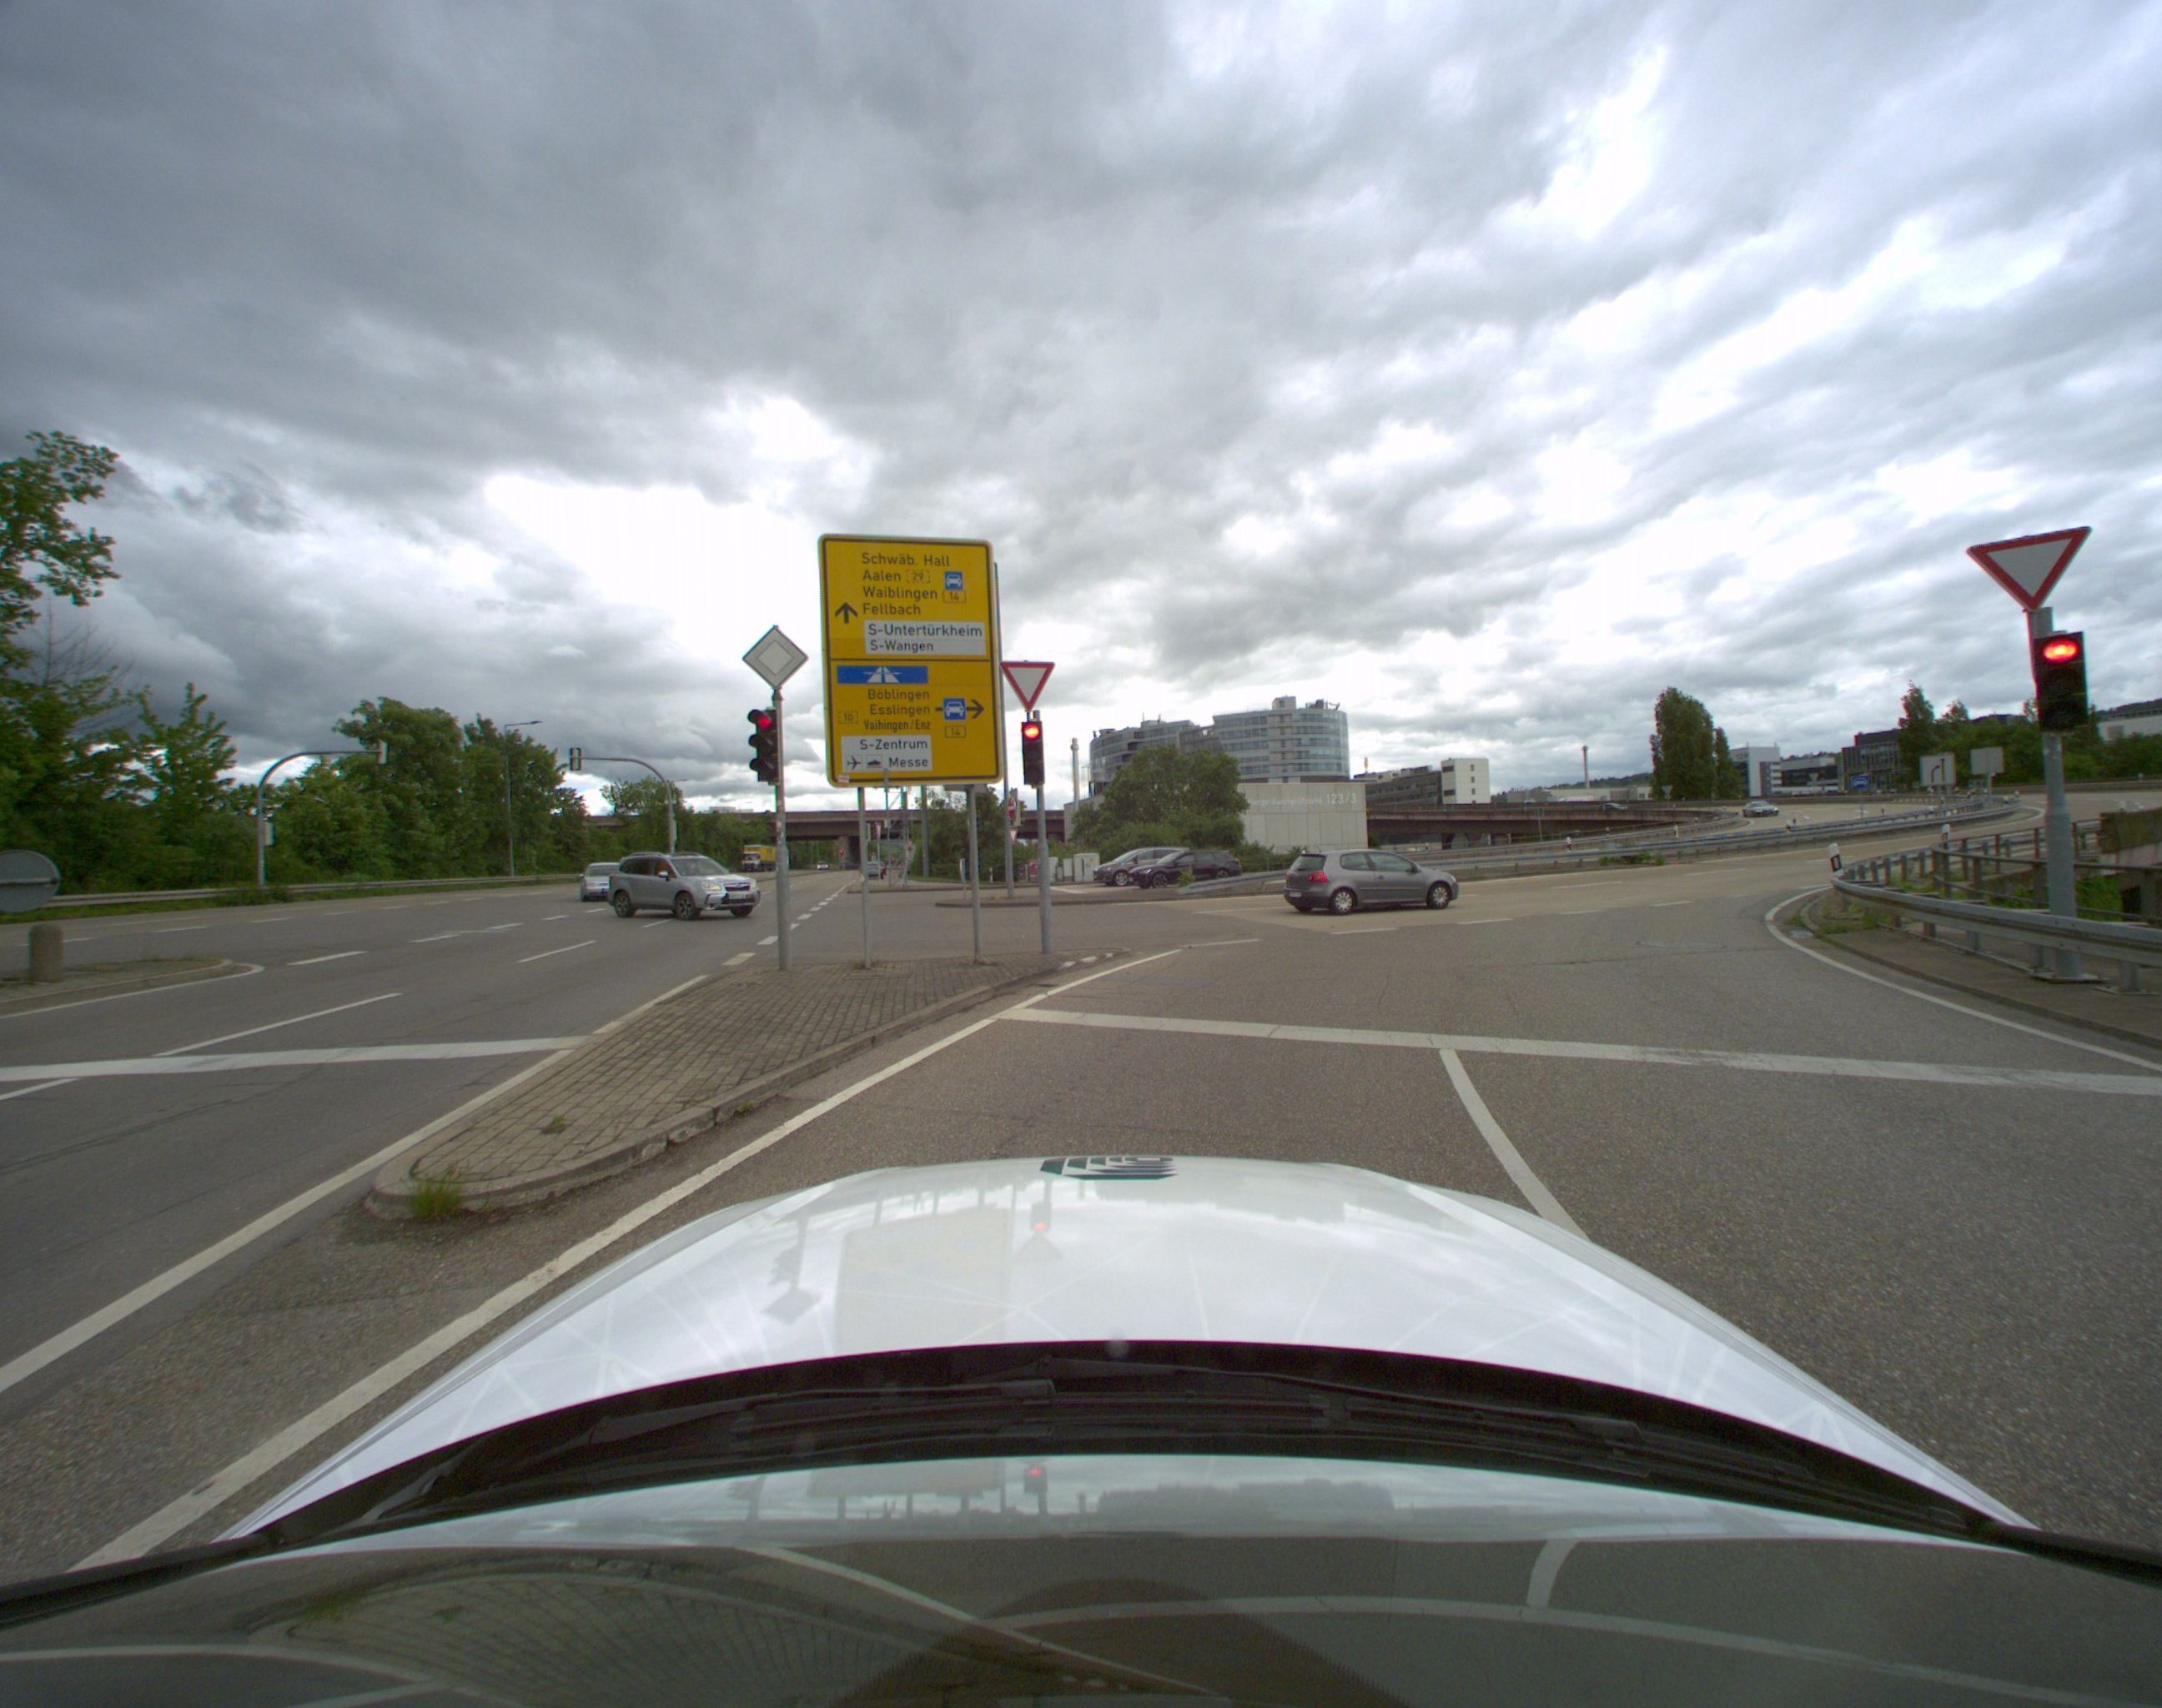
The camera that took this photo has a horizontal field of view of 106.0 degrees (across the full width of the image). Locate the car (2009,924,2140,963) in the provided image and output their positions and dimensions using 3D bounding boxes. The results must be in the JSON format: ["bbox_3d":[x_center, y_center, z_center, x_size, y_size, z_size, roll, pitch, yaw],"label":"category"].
[{"bbox_3d":[48.977,4.372,40.227,1.831,1.354,3.829,-3,1,-28],"label":"car"}]

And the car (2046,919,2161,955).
[{"bbox_3d":[53.055,4.237,42.080,1.831,1.354,3.829,-3,1,-28],"label":"car"}]

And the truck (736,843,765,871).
[{"bbox_3d":[-50.693,0.419,125.121,2.873,4.084,6.462,1,0,-11],"label":"truck"}]

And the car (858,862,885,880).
[{"bbox_3d":[-17.161,1.407,66.587,1.999,1.442,4.085,0,-2,-17],"label":"car"}]

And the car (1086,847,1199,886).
[{"bbox_3d":[2.727,0.502,36.347,4.688,1.571,1.945,-1,1,-16],"label":"car"}]

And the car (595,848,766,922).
[{"bbox_3d":[-10.533,0.784,21.355,4.497,1.737,1.741,-2,0,30],"label":"car"}]

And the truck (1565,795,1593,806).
[{"bbox_3d":[105.915,-11.379,173.204,4.566,2.171,2.003,2,0,5],"label":"truck"}]

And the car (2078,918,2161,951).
[{"bbox_3d":[55.773,4.235,42.919,1.831,1.354,3.829,-3,1,-28],"label":"car"}]

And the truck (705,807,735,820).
[{"bbox_3d":[-69.537,-7.780,156.805,5.032,2.321,2.004,0,0,8],"label":"truck"}]

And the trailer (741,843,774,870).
[{"bbox_3d":[-51.653,0.420,130.314,2.873,4.084,11.383,1,0,-11],"label":"trailer"}]

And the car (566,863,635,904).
[{"bbox_3d":[-18.473,1.079,31.245,1.738,1.400,4.020,-2,0,-38],"label":"car"}]

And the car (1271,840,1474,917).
[{"bbox_3d":[6.776,0.518,19.031,4.240,1.461,1.720,-3,1,-17],"label":"car"}]

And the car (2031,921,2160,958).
[{"bbox_3d":[51.150,4.284,41.137,1.831,1.354,3.829,-3,1,-28],"label":"car"}]

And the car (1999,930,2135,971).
[{"bbox_3d":[46.927,4.546,38.842,1.831,1.354,3.829,-3,1,-28],"label":"car"}]

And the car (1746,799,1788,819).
[{"bbox_3d":[66.343,-4.335,78.805,1.892,1.662,4.774,2,0,25],"label":"car"}]

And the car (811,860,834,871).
[{"bbox_3d":[-47.357,2.095,149.185,3.949,1.860,2.012,2,0,31],"label":"car"}]

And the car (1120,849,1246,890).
[{"bbox_3d":[4.057,0.583,32.539,4.617,1.457,1.944,-1,1,-18],"label":"car"}]
